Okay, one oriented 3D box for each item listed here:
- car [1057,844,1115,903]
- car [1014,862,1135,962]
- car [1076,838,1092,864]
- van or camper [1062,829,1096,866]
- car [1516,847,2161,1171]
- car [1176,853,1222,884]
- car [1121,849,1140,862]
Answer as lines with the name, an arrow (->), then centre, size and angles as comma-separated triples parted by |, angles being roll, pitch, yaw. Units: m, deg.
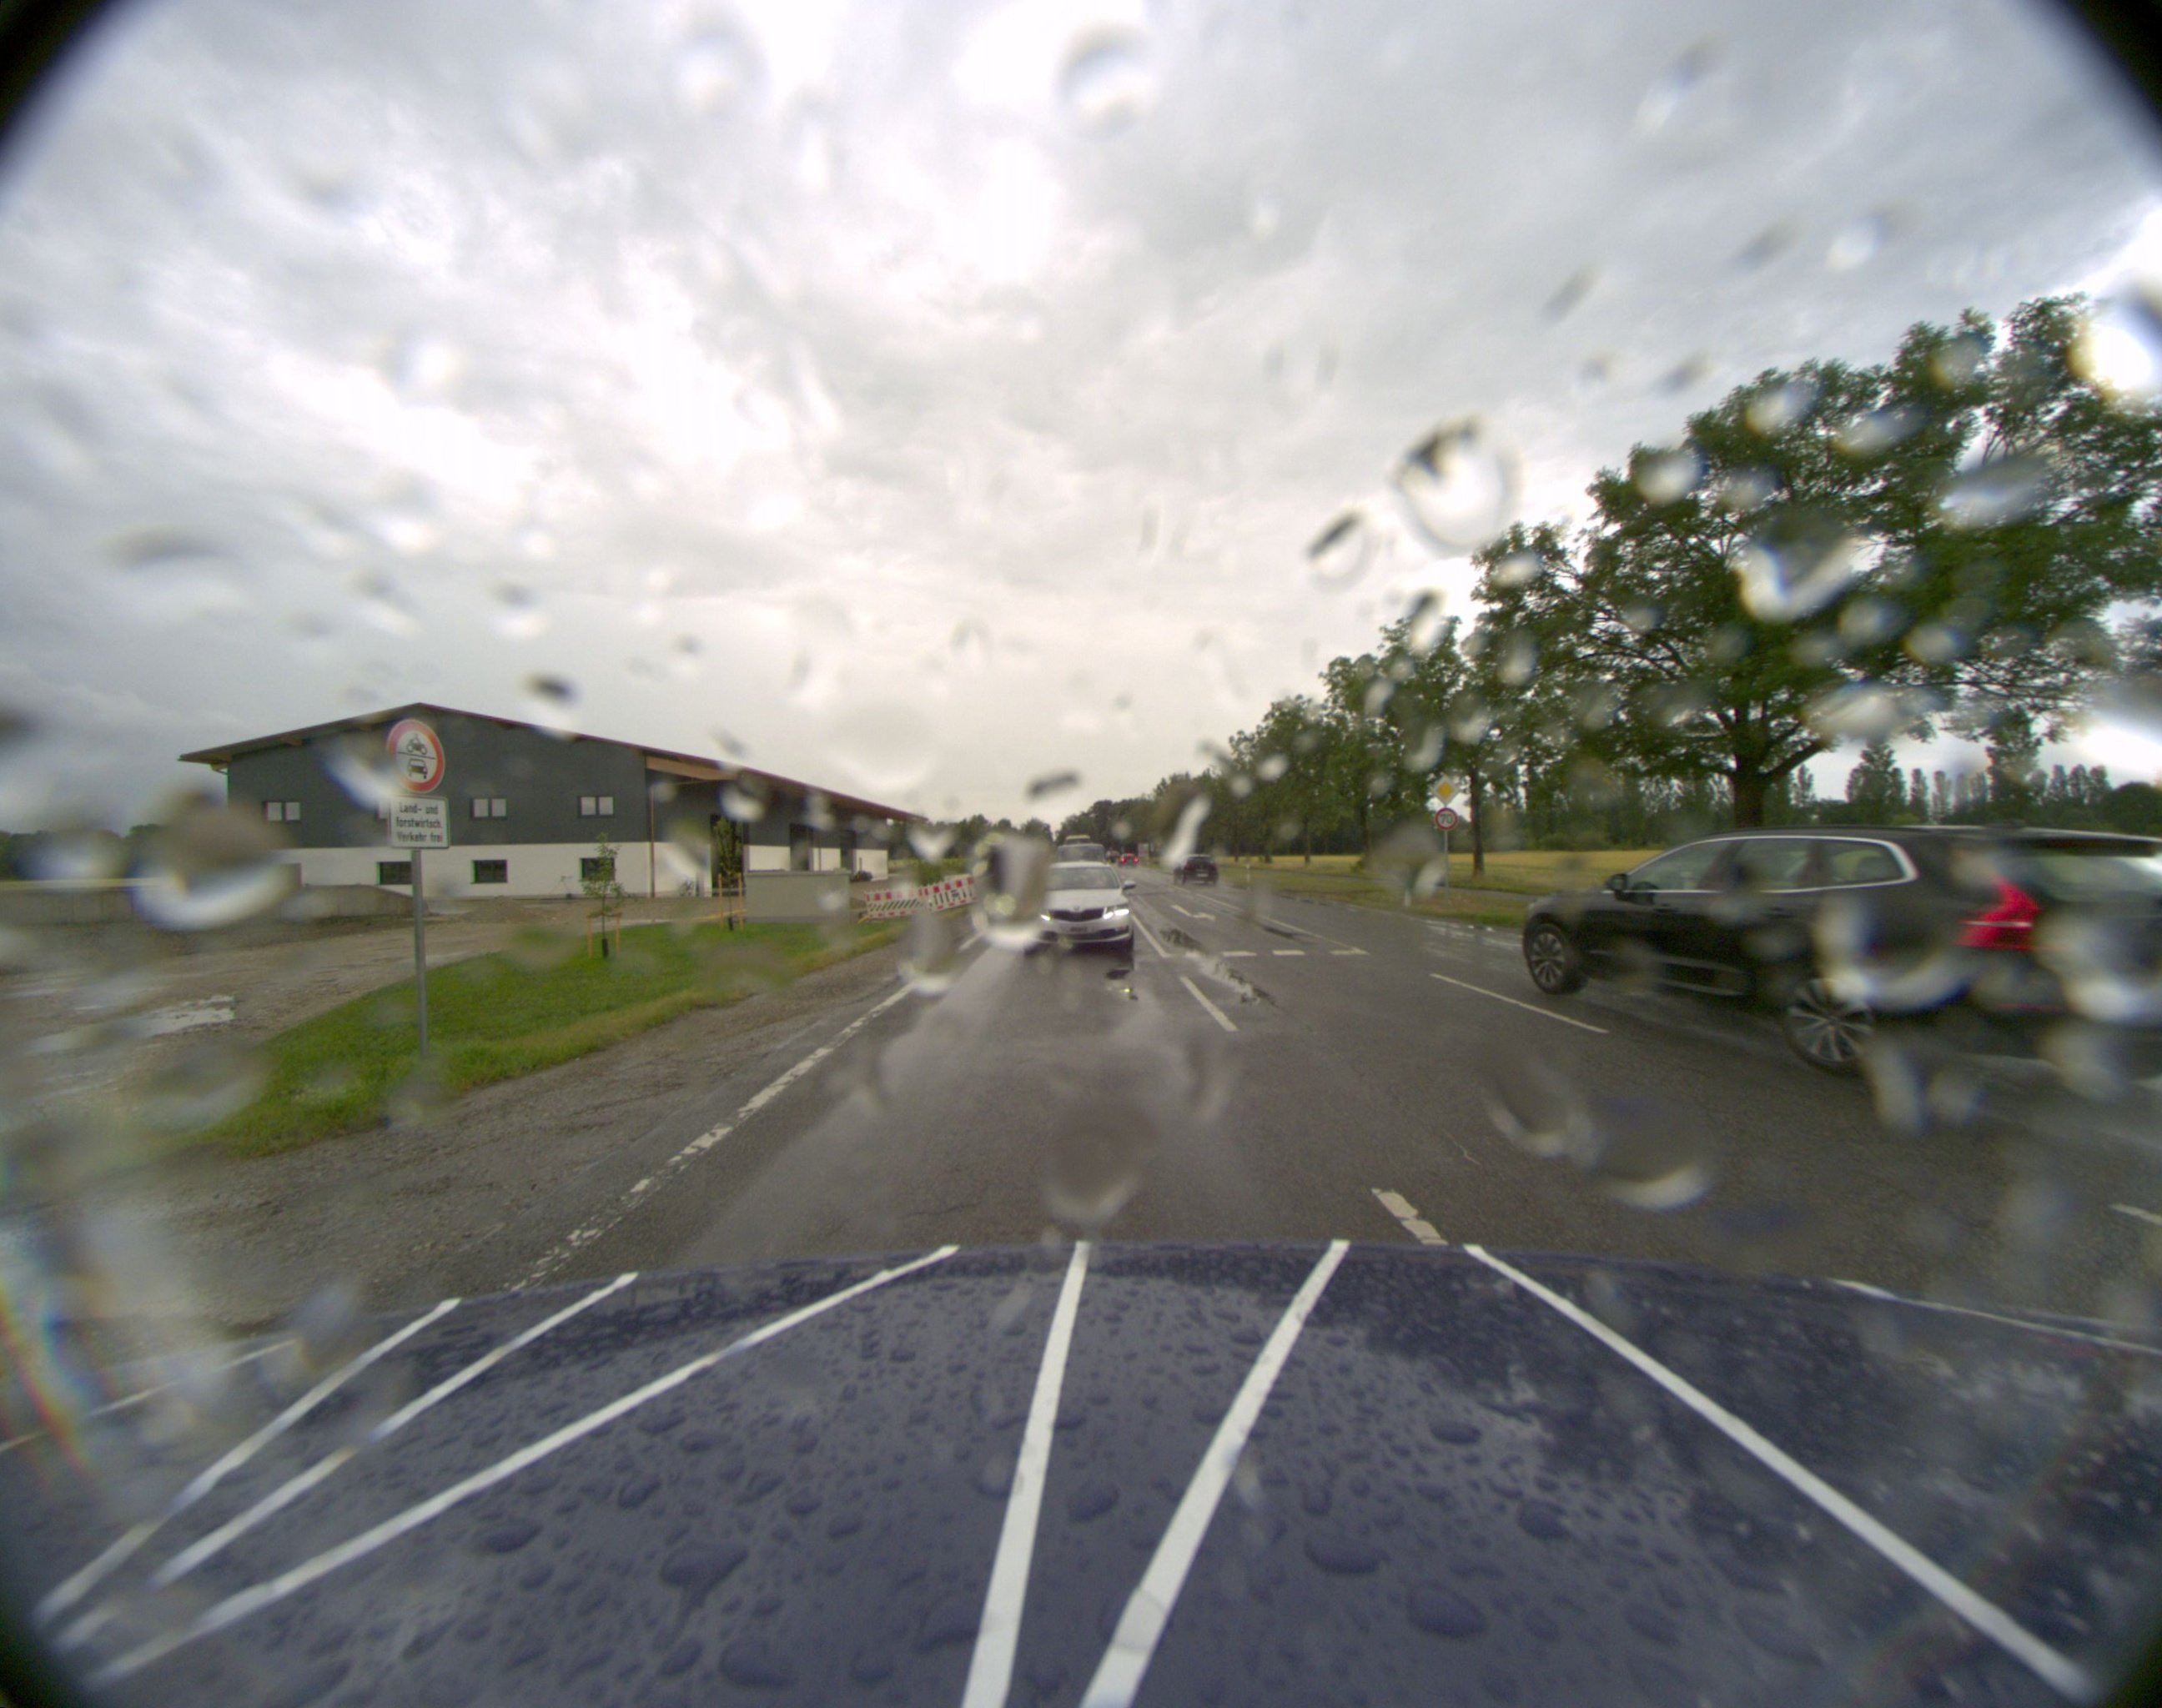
car -> 0.170, 0.608, 26.858 | 1.841, 1.888, 4.575 | -1, 1, 0
car -> -0.081, 0.886, 13.576 | 1.770, 1.365, 4.575 | -1, 1, 0
car -> 0.317, -0.381, 92.295 | 1.771, 3.134, 4.027 | -1, 1, -1
van or camper -> -0.220, -0.708, 80.711 | 3.342, 3.624, 8.372 | -1, 1, 0
car -> 5.631, 0.751, 5.903 | 1.949, 1.571, 4.443 | 0, 0, 0
car -> 5.625, 0.669, 36.630 | 1.716, 1.397, 3.814 | 0, 0, 1
car -> 5.307, 0.157, 81.618 | 1.770, 1.429, 4.412 | 0, 0, -1
